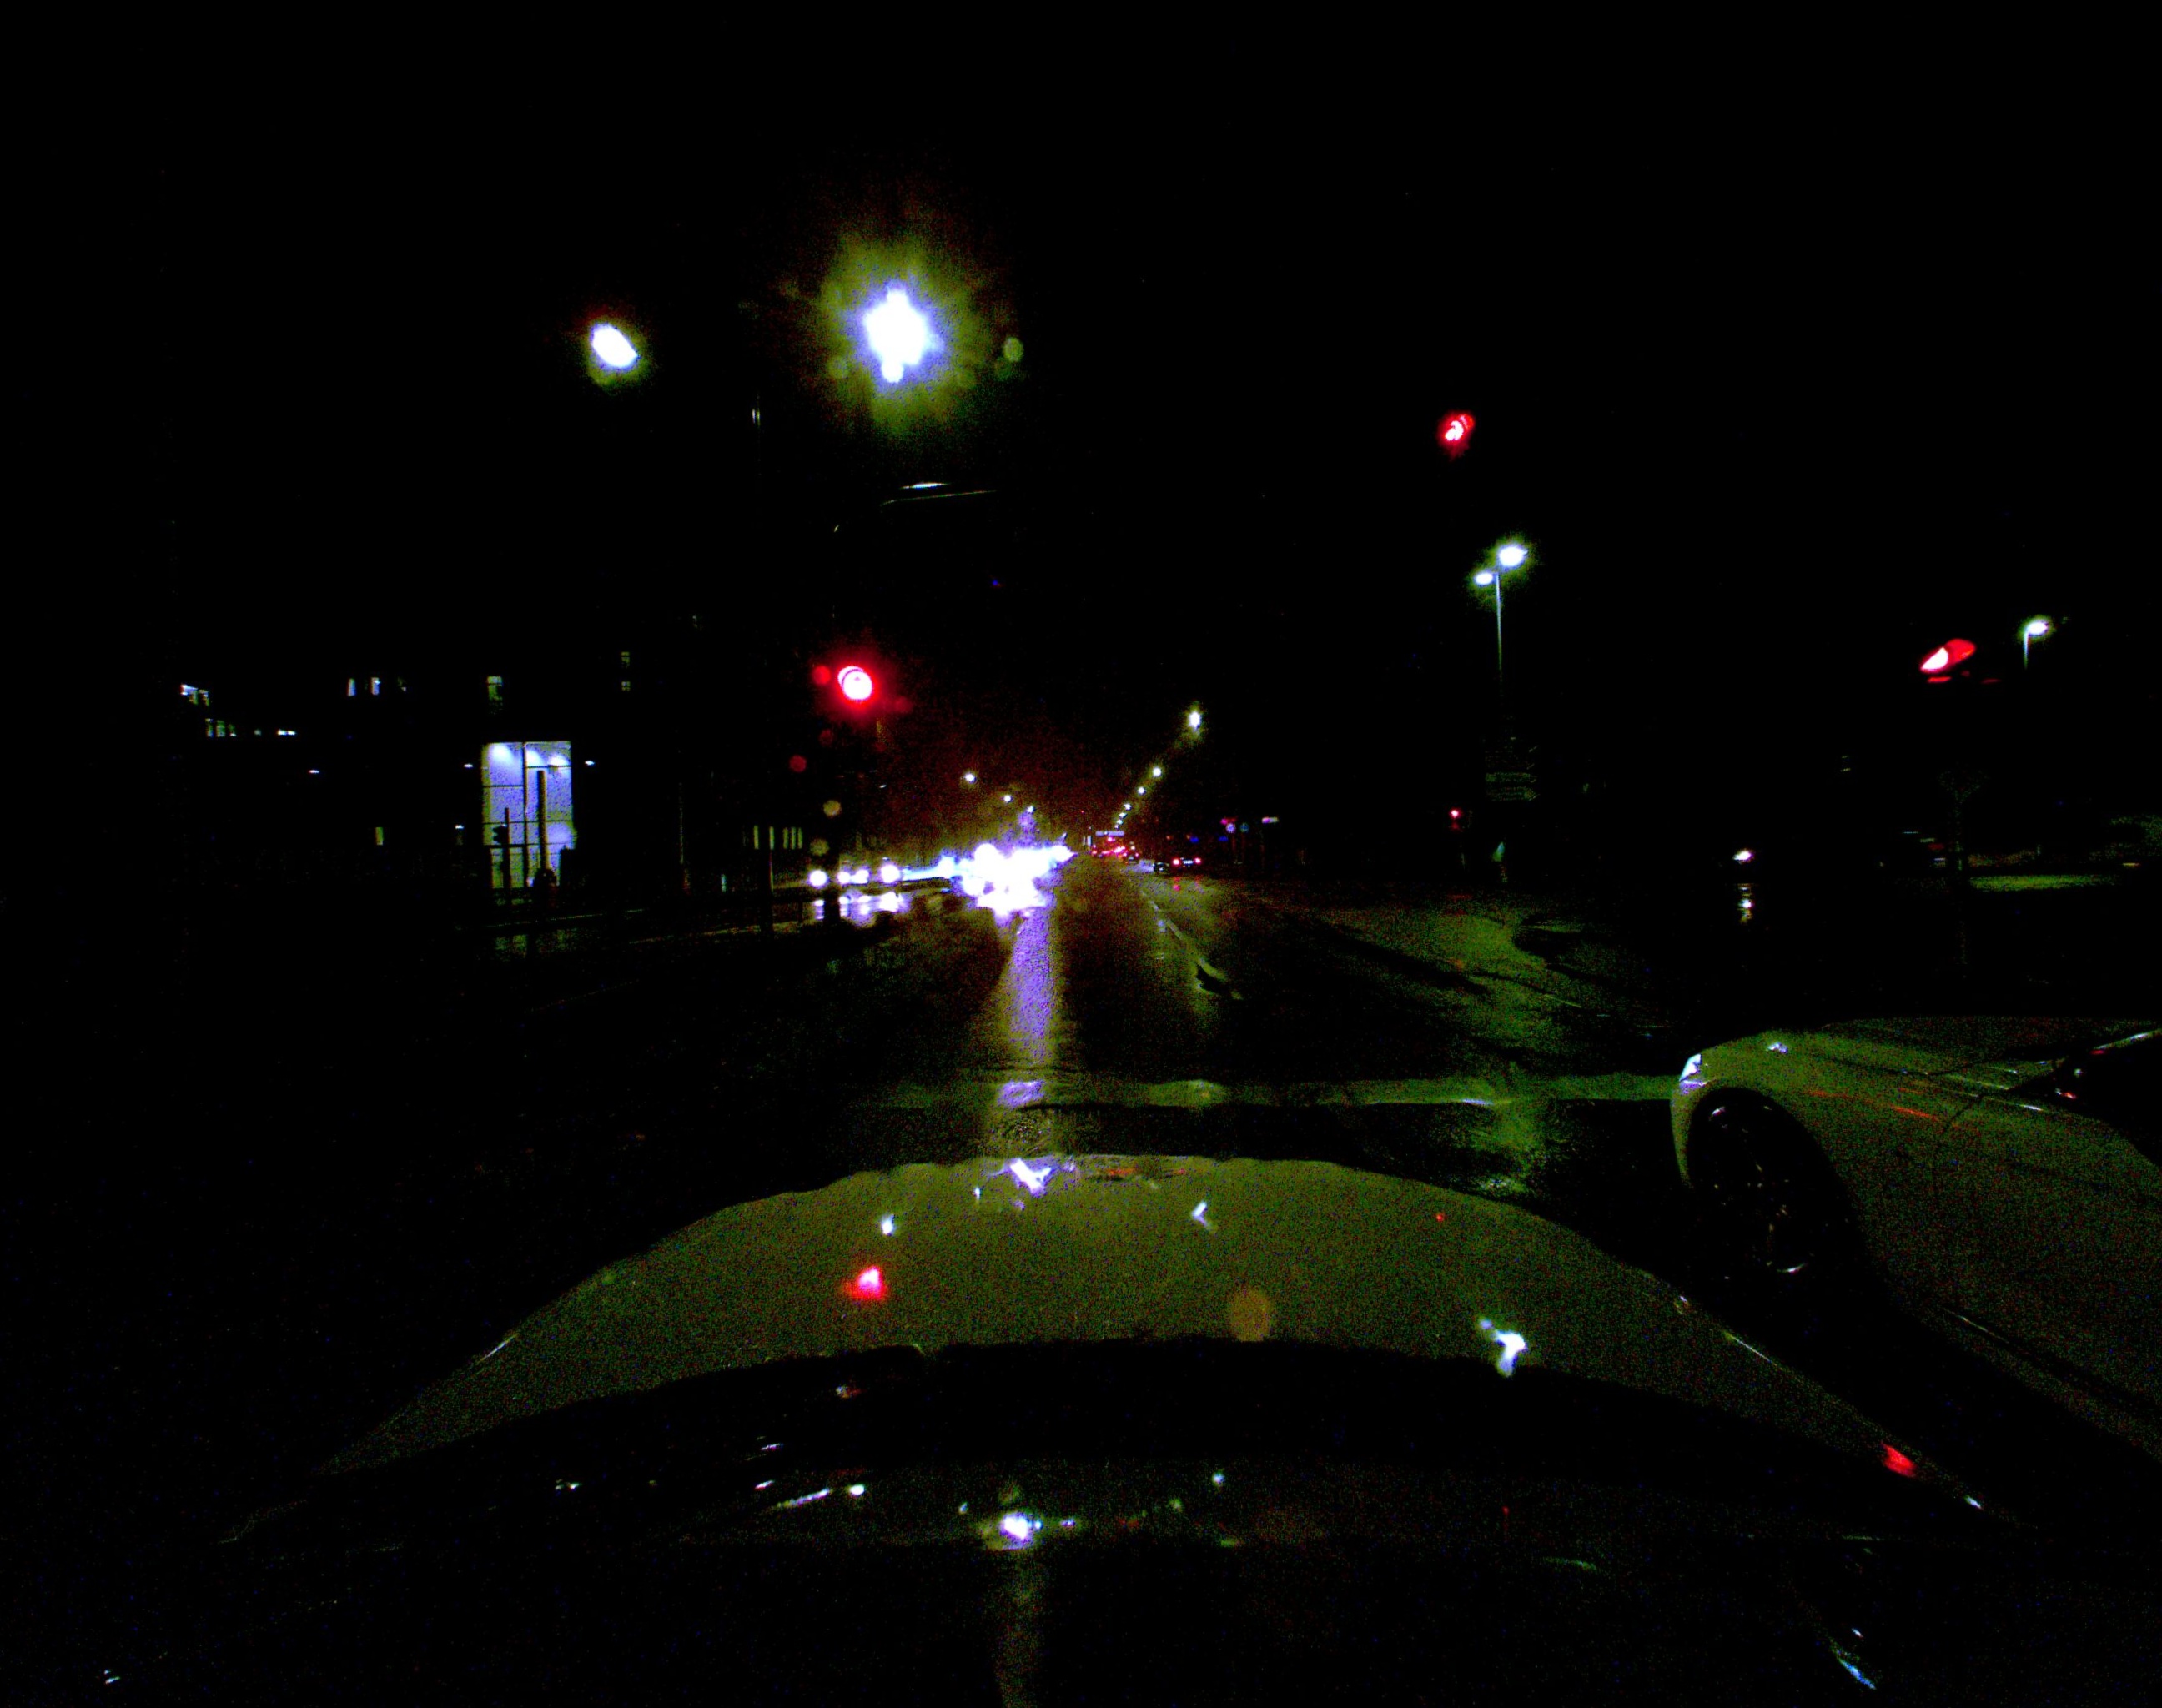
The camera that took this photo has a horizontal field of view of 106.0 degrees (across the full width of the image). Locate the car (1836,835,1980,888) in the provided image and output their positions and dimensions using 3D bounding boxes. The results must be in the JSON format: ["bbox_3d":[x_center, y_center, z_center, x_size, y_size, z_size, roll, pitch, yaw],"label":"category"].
[{"bbox_3d":[30.402,0.281,30.023,3.400,1.838,1.690,-1,-1,6],"label":"car"}]

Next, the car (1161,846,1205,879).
[{"bbox_3d":[5.944,0.505,47.823,1.898,1.780,3.996,-1,-1,-3],"label":"car"}]

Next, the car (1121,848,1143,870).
[{"bbox_3d":[5.286,0.523,84.865,2.200,2.215,3.644,-1,-1,2],"label":"car"}]

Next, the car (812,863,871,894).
[{"bbox_3d":[-12.738,1.276,43.546,1.794,1.564,4.001,-1,-1,2],"label":"car"}]

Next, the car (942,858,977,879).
[{"bbox_3d":[-9.524,1.110,64.189,1.878,1.552,4.435,-1,-1,2],"label":"car"}]

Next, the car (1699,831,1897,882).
[{"bbox_3d":[24.202,0.096,27.668,4.823,1.590,1.857,-1,-1,8],"label":"car"}]

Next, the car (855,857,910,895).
[{"bbox_3d":[-10.001,1.072,41.278,1.745,1.709,4.495,-3,-1,-2],"label":"car"}]

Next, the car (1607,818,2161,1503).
[{"bbox_3d":[3.127,0.619,1.306,1.714,1.446,4.383,-3,-1,1],"label":"car"}]

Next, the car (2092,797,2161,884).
[{"bbox_3d":[26.706,-0.342,19.328,3.551,2.014,1.701,-1,-1,-6],"label":"car"}]

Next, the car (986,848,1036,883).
[{"bbox_3d":[-3.507,0.582,41.691,1.986,1.610,4.970,-1,-1,1],"label":"car"}]

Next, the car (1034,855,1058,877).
[{"bbox_3d":[-3.346,1.175,79.338,1.986,2.014,4.001,-2,0,2],"label":"car"}]

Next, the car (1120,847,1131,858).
[{"bbox_3d":[8.806,-0.228,160.641,2.029,2.014,4.311,-1,-1,3],"label":"car"}]

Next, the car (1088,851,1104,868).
[{"bbox_3d":[1.868,0.691,101.096,1.986,2.014,4.001,-1,-1,2],"label":"car"}]
